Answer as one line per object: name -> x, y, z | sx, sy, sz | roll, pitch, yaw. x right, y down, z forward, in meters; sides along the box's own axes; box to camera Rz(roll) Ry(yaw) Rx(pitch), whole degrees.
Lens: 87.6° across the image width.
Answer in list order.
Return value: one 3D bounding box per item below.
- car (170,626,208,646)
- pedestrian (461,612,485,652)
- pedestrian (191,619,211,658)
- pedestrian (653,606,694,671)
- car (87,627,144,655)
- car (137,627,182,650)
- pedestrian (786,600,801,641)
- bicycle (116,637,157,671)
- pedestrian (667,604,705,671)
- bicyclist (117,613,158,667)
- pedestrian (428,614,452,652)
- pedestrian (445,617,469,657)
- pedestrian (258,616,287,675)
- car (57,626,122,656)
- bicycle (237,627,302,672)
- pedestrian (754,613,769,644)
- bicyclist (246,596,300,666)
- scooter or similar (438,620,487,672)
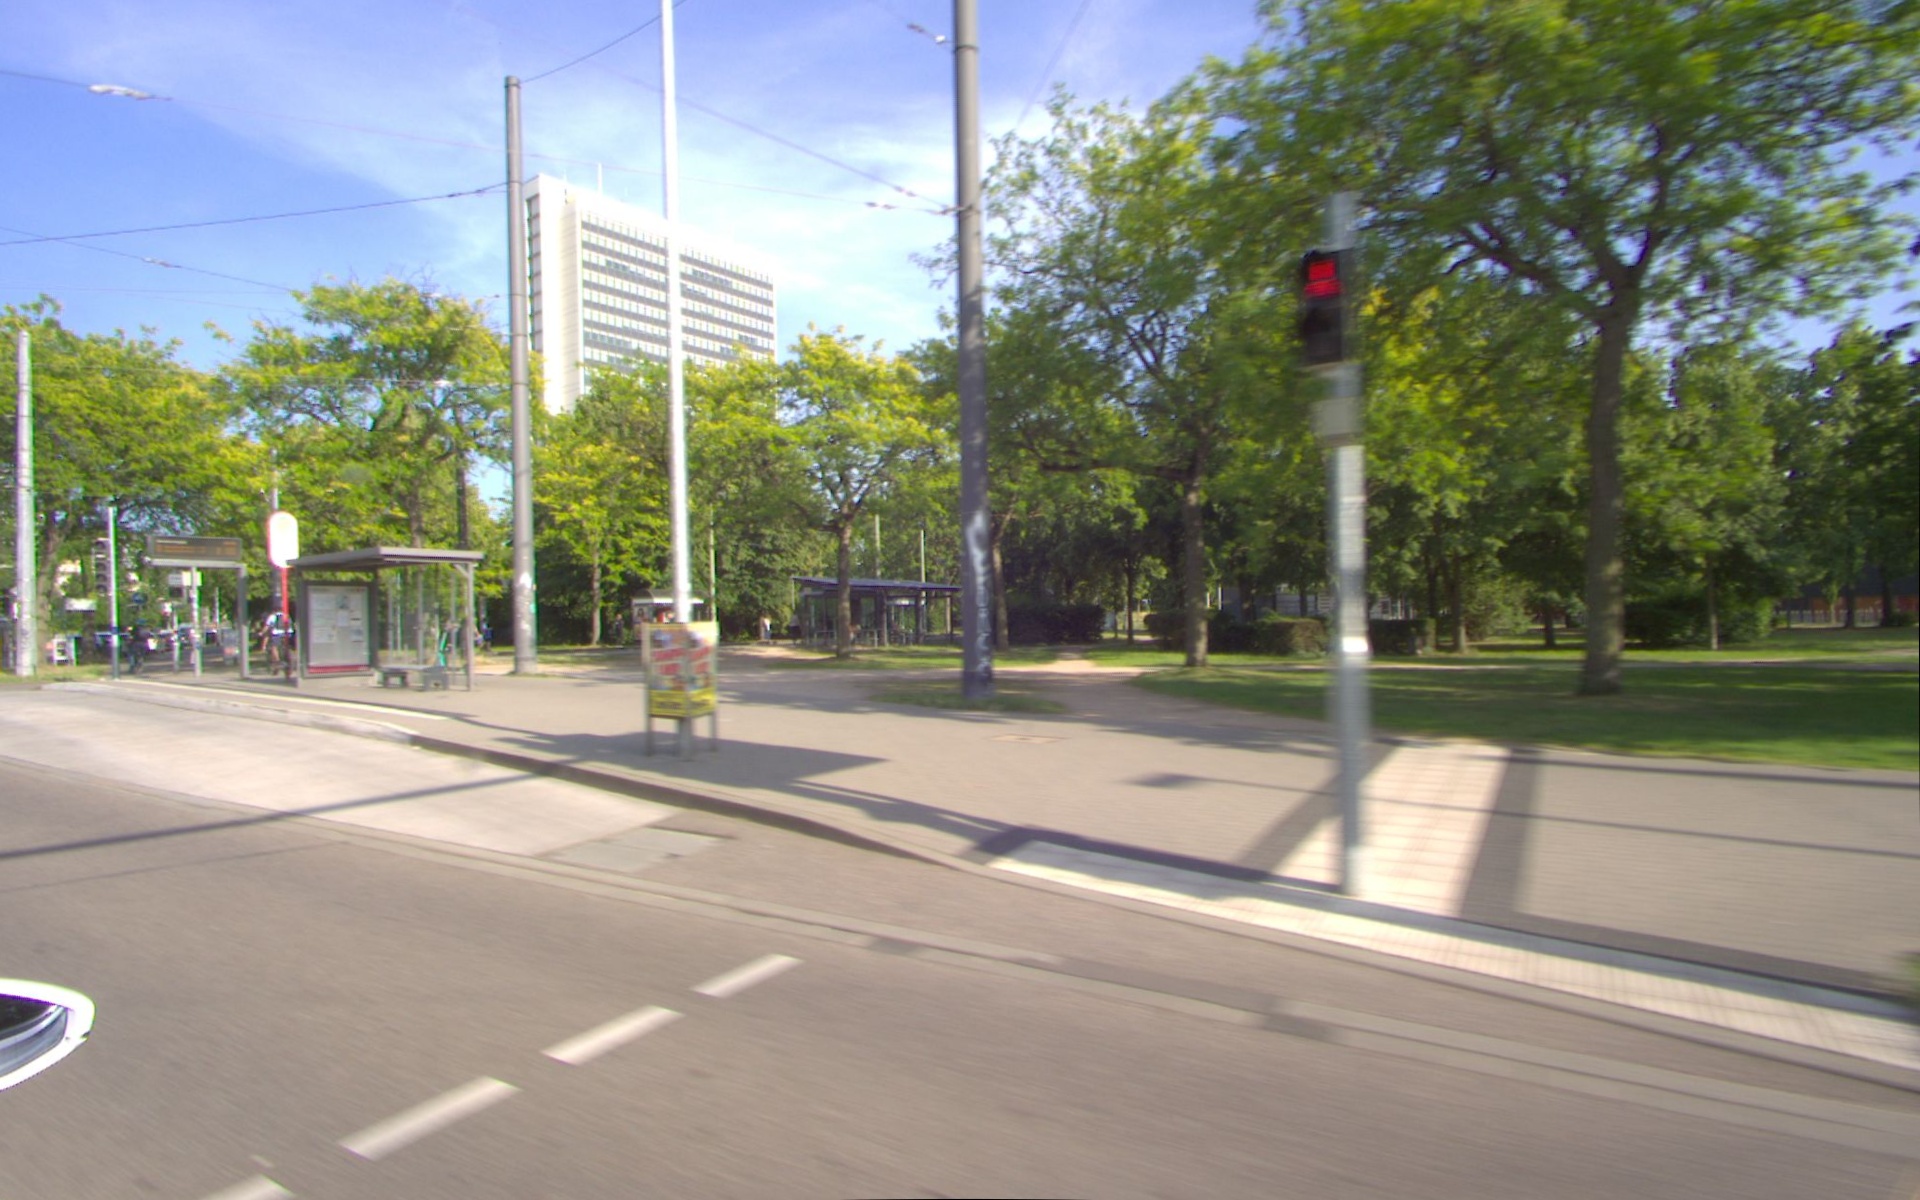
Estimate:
car -> -62.269, 2.883, 80.920 | 1.832, 1.535, 3.981 | -2, 0, -29
pedestrian -> -20.733, 1.349, 42.668 | 0.681, 1.687, 0.639 | -1, 0, 32
pedestrian -> -33.471, 1.700, 44.174 | 0.636, 1.687, 0.684 | -1, 0, -42
pedestrian -> -8.023, 1.083, 28.090 | 0.863, 1.799, 0.673 | 0, -2, 12
car -> -51.230, 2.443, 60.825 | 1.832, 1.535, 3.981 | -2, 0, -29
car -> -57.210, 2.722, 71.615 | 1.832, 1.535, 3.981 | -2, 0, -29
pedestrian -> -7.954, 0.983, 47.849 | 0.595, 1.890, 0.462 | -1, -3, 15
bicycle -> -28.160, 1.826, 34.235 | 1.711, 1.102, 0.638 | -2, 2, 36
pedestrian -> -7.956, 1.109, 29.104 | 0.863, 1.921, 0.674 | 0, -2, 5
bicyclist -> -27.959, 1.360, 34.042 | 1.125, 1.769, 0.717 | -1, 2, 36
pedestrian -> -22.354, 1.405, 43.019 | 0.681, 1.631, 0.639 | -1, 0, 32
pedestrian -> -21.511, 1.575, 42.860 | 0.681, 1.687, 0.639 | -1, 0, 32
pedestrian -> -21.397, 1.411, 31.173 | 0.581, 1.799, 0.575 | -1, -3, 40
car -> -48.714, 2.243, 56.133 | 1.831, 1.535, 3.982 | -2, 0, -28
bicycle -> -18.161, 1.291, 26.313 | 1.912, 1.102, 0.639 | -2, 1, 32
pedestrian -> -12.054, 1.739, 60.705 | 0.667, 1.822, 0.605 | 2, -3, -44
bicyclist -> -17.921, 0.810, 26.121 | 1.123, 1.769, 0.647 | -2, 2, 31
scooter or similar -> -12.104, 1.110, 24.347 | 1.115, 1.248, 0.351 | -1, 0, 18
